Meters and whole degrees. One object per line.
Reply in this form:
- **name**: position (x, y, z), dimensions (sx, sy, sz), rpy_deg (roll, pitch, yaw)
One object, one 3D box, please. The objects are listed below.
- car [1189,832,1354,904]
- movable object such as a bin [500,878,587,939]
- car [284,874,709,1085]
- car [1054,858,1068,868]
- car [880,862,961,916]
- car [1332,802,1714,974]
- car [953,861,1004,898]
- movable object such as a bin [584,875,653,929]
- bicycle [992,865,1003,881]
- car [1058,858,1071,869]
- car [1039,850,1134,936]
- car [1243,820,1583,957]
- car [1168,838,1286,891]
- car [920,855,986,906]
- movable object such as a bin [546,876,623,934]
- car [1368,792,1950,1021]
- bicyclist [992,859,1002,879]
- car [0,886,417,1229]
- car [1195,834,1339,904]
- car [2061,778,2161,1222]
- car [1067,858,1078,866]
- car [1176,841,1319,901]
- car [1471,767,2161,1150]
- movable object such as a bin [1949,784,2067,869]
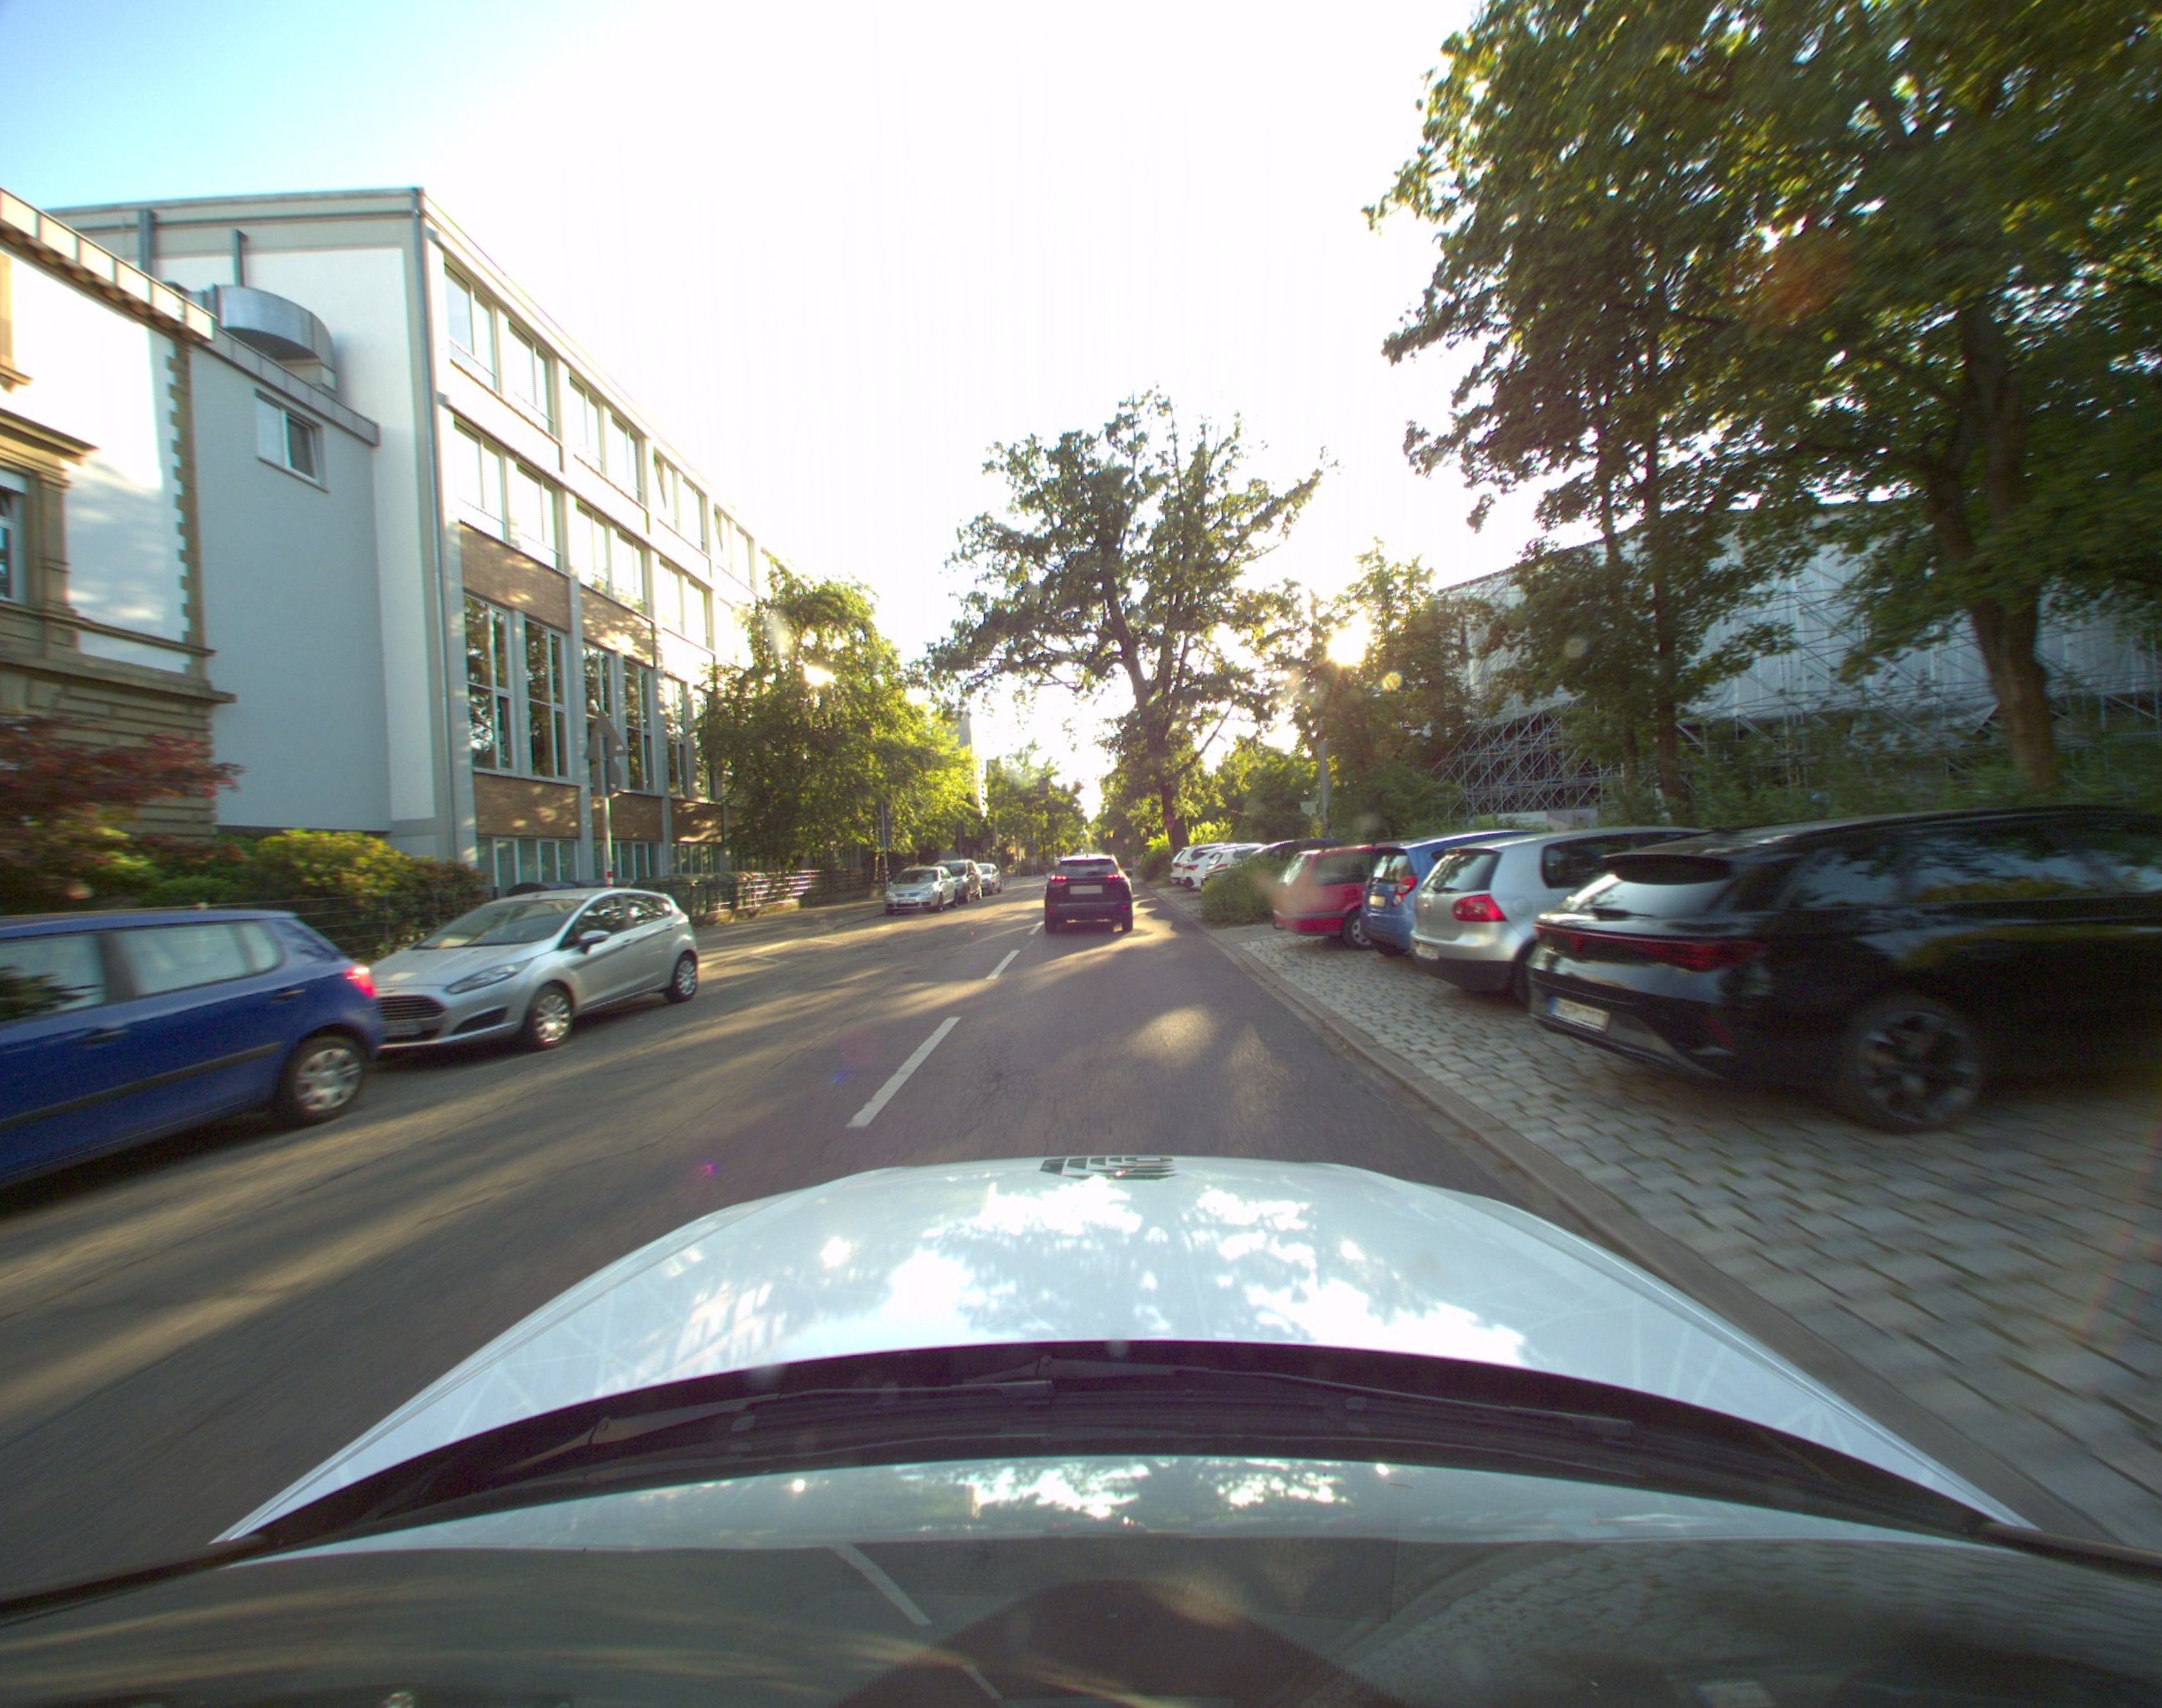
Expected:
- **car**: position (4.754, 0.347, 20.655), dimensions (3.733, 1.594, 1.696), rpy_deg (-2, 0, -1)
- **movable object such as a bin**: position (-13.783, 1.375, 20.939), dimensions (1.094, 1.430, 1.521), rpy_deg (-3, 0, 4)
- **car**: position (-5.680, 1.080, 8.596), dimensions (1.595, 1.493, 3.773), rpy_deg (-4, 0, 1)
- **car**: position (-2.893, 1.237, 115.481), dimensions (1.807, 1.354, 3.995), rpy_deg (-4, 0, -4)
- **car**: position (-5.157, 1.082, 26.712), dimensions (1.664, 1.494, 4.063), rpy_deg (-3, 0, 2)
- **car**: position (5.287, 0.380, 10.076), dimensions (3.703, 1.555, 1.740), rpy_deg (-6, 0, -3)
- **car**: position (-4.789, 1.148, 38.532), dimensions (1.673, 1.457, 3.884), rpy_deg (-4, 0, 2)
- **movable object such as a bin**: position (-13.543, 1.386, 23.900), dimensions (1.094, 1.430, 1.374), rpy_deg (-3, 0, 4)
- **bicycle**: position (-7.019, 1.602, 68.191), dimensions (0.684, 1.249, 2.191), rpy_deg (-3, 0, -1)
- **car**: position (-2.419, 1.403, 121.721), dimensions (1.806, 1.354, 3.996), rpy_deg (-4, 0, -2)
- **car**: position (0.120, 0.735, 17.341), dimensions (1.762, 1.568, 3.380), rpy_deg (-3, 0, 0)
- **car**: position (4.797, 0.468, 12.237), dimensions (4.321, 1.475, 1.743), rpy_deg (-6, 1, 2)
- **car**: position (5.349, 0.384, 30.283), dimensions (4.150, 1.710, 1.870), rpy_deg (-3, 0, 5)
- **car**: position (-4.973, 0.998, 32.161), dimensions (1.673, 1.708, 4.342), rpy_deg (-4, 0, 2)
- **movable object such as a bin**: position (-13.655, 1.381, 22.450), dimensions (1.094, 1.430, 1.488), rpy_deg (-3, 0, 4)
- **car**: position (4.944, 0.429, 7.464), dimensions (3.909, 1.454, 1.833), rpy_deg (-6, 0, 2)
- **bicyclist**: position (-7.032, 1.259, 68.241), dimensions (0.673, 1.603, 0.706), rpy_deg (-3, 0, -1)
- **car**: position (-5.907, 1.069, 4.203), dimensions (1.592, 1.507, 3.790), rpy_deg (-4, 0, 3)
- **car**: position (5.186, 0.423, 23.064), dimensions (3.577, 1.566, 1.818), rpy_deg (-5, -1, 0)
- **car**: position (5.393, 0.287, 1.903), dimensions (3.793, 1.474, 1.833), rpy_deg (-7, 0, 2)
- **car**: position (-1.633, 1.525, 155.563), dimensions (1.806, 1.354, 3.975), rpy_deg (-4, 0, -2)
- **car**: position (5.144, 0.510, 25.508), dimensions (4.107, 1.667, 1.723), rpy_deg (-2, 0, 1)
- **car**: position (4.730, 0.406, 4.571), dimensions (4.104, 1.474, 1.833), rpy_deg (-6, 0, 2)
- **movable object such as a bin**: position (16.857, -0.480, 14.842), dimensions (0.957, 1.439, 0.985), rpy_deg (-4, 0, 4)
